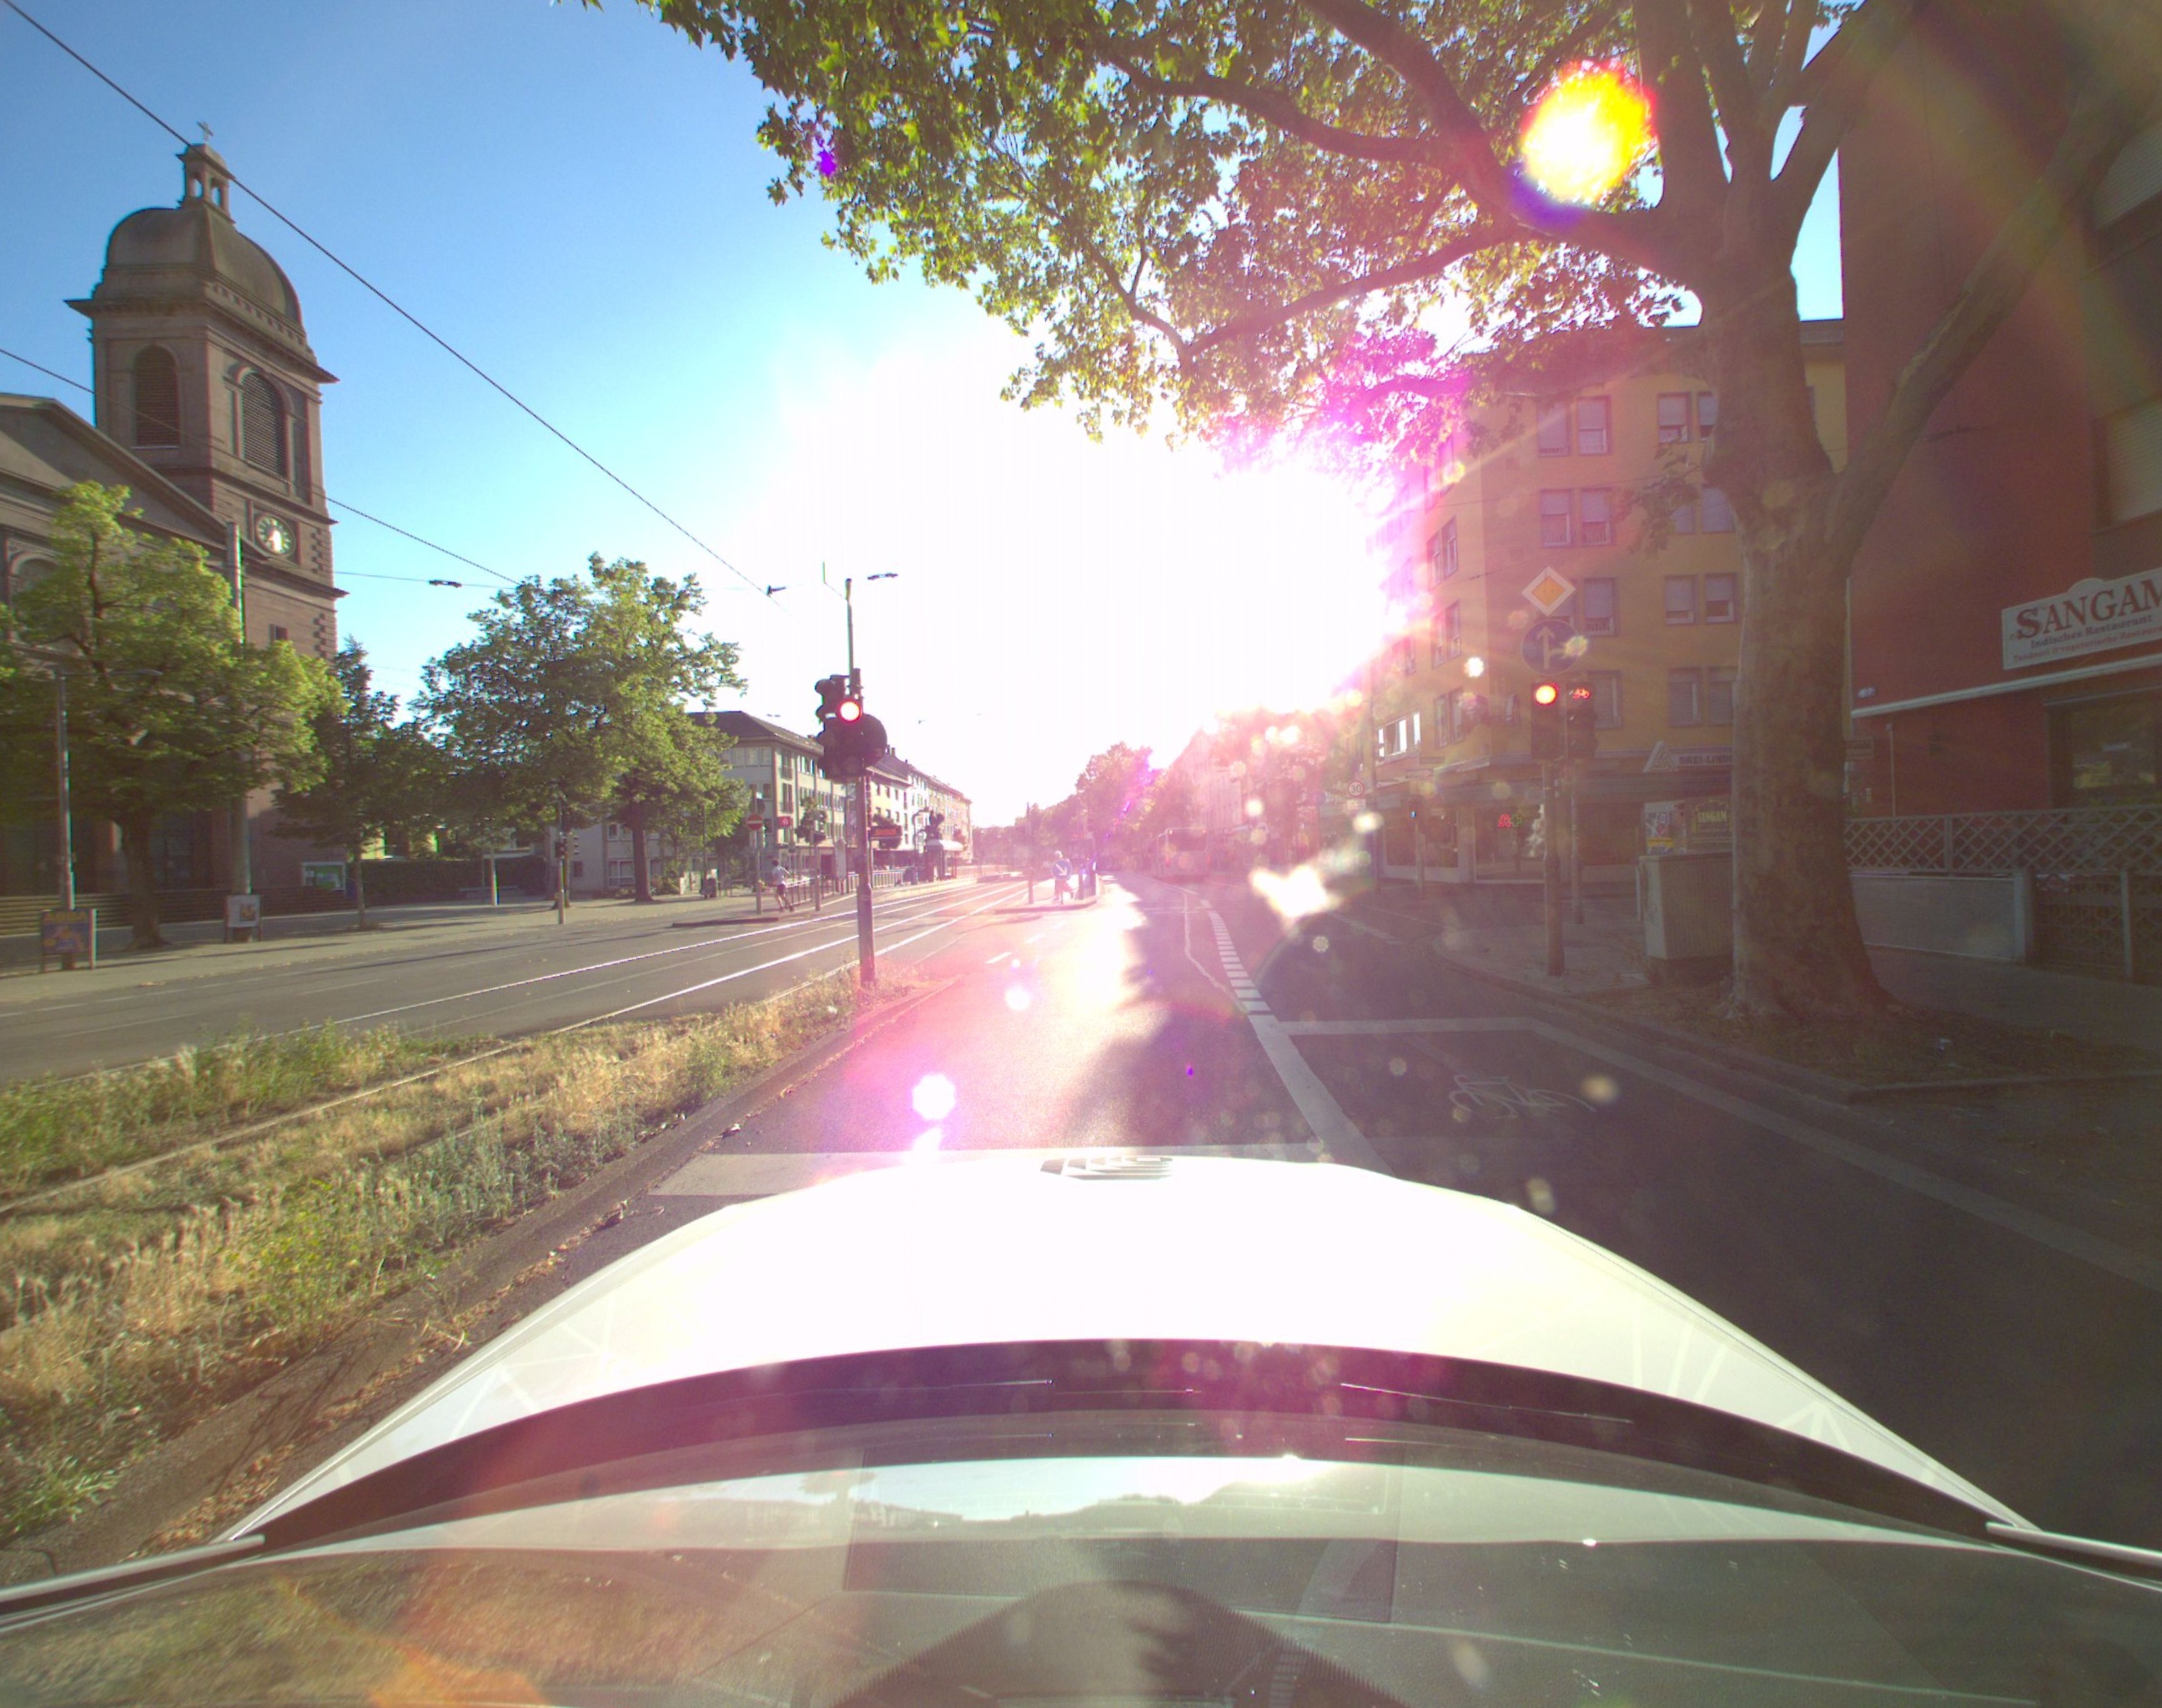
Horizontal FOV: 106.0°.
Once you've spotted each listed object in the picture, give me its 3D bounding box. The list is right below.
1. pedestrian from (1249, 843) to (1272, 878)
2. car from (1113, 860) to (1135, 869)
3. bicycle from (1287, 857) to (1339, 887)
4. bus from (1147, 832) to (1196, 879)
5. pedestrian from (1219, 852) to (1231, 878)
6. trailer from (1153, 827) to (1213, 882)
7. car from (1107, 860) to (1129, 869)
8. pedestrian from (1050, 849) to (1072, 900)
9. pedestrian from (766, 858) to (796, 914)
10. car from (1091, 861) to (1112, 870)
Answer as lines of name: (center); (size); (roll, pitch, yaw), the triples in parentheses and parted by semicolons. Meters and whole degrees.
pedestrian: (10.279, 0.377, 46.625); (0.961, 2.014, 0.906); (0, -1, -40)
car: (8.386, 2.043, 158.617); (3.911, 1.699, 1.817); (-2, 0, -27)
bicycle: (8.900, 0.700, 31.246); (1.766, 1.021, 0.694); (-4, -1, 1)
bus: (6.397, 0.117, 58.998); (2.801, 3.101, 9.097); (0, 0, 2)
pedestrian: (8.998, 0.687, 50.842); (0.674, 1.628, 0.656); (0, -1, 2)
trailer: (6.107, 0.055, 50.046); (2.801, 3.110, 8.797); (0, 0, 2)
car: (7.358, 2.126, 161.334); (3.911, 1.699, 1.817); (-2, 0, -27)
pedestrian: (-0.712, 0.734, 29.108); (0.677, 1.770, 0.687); (-1, -1, 2)
pedestrian: (-9.776, 1.027, 26.525); (0.678, 1.770, 0.686); (-2, 0, -2)
car: (4.274, 2.306, 166.518); (3.912, 1.596, 1.676); (-2, 0, -27)
